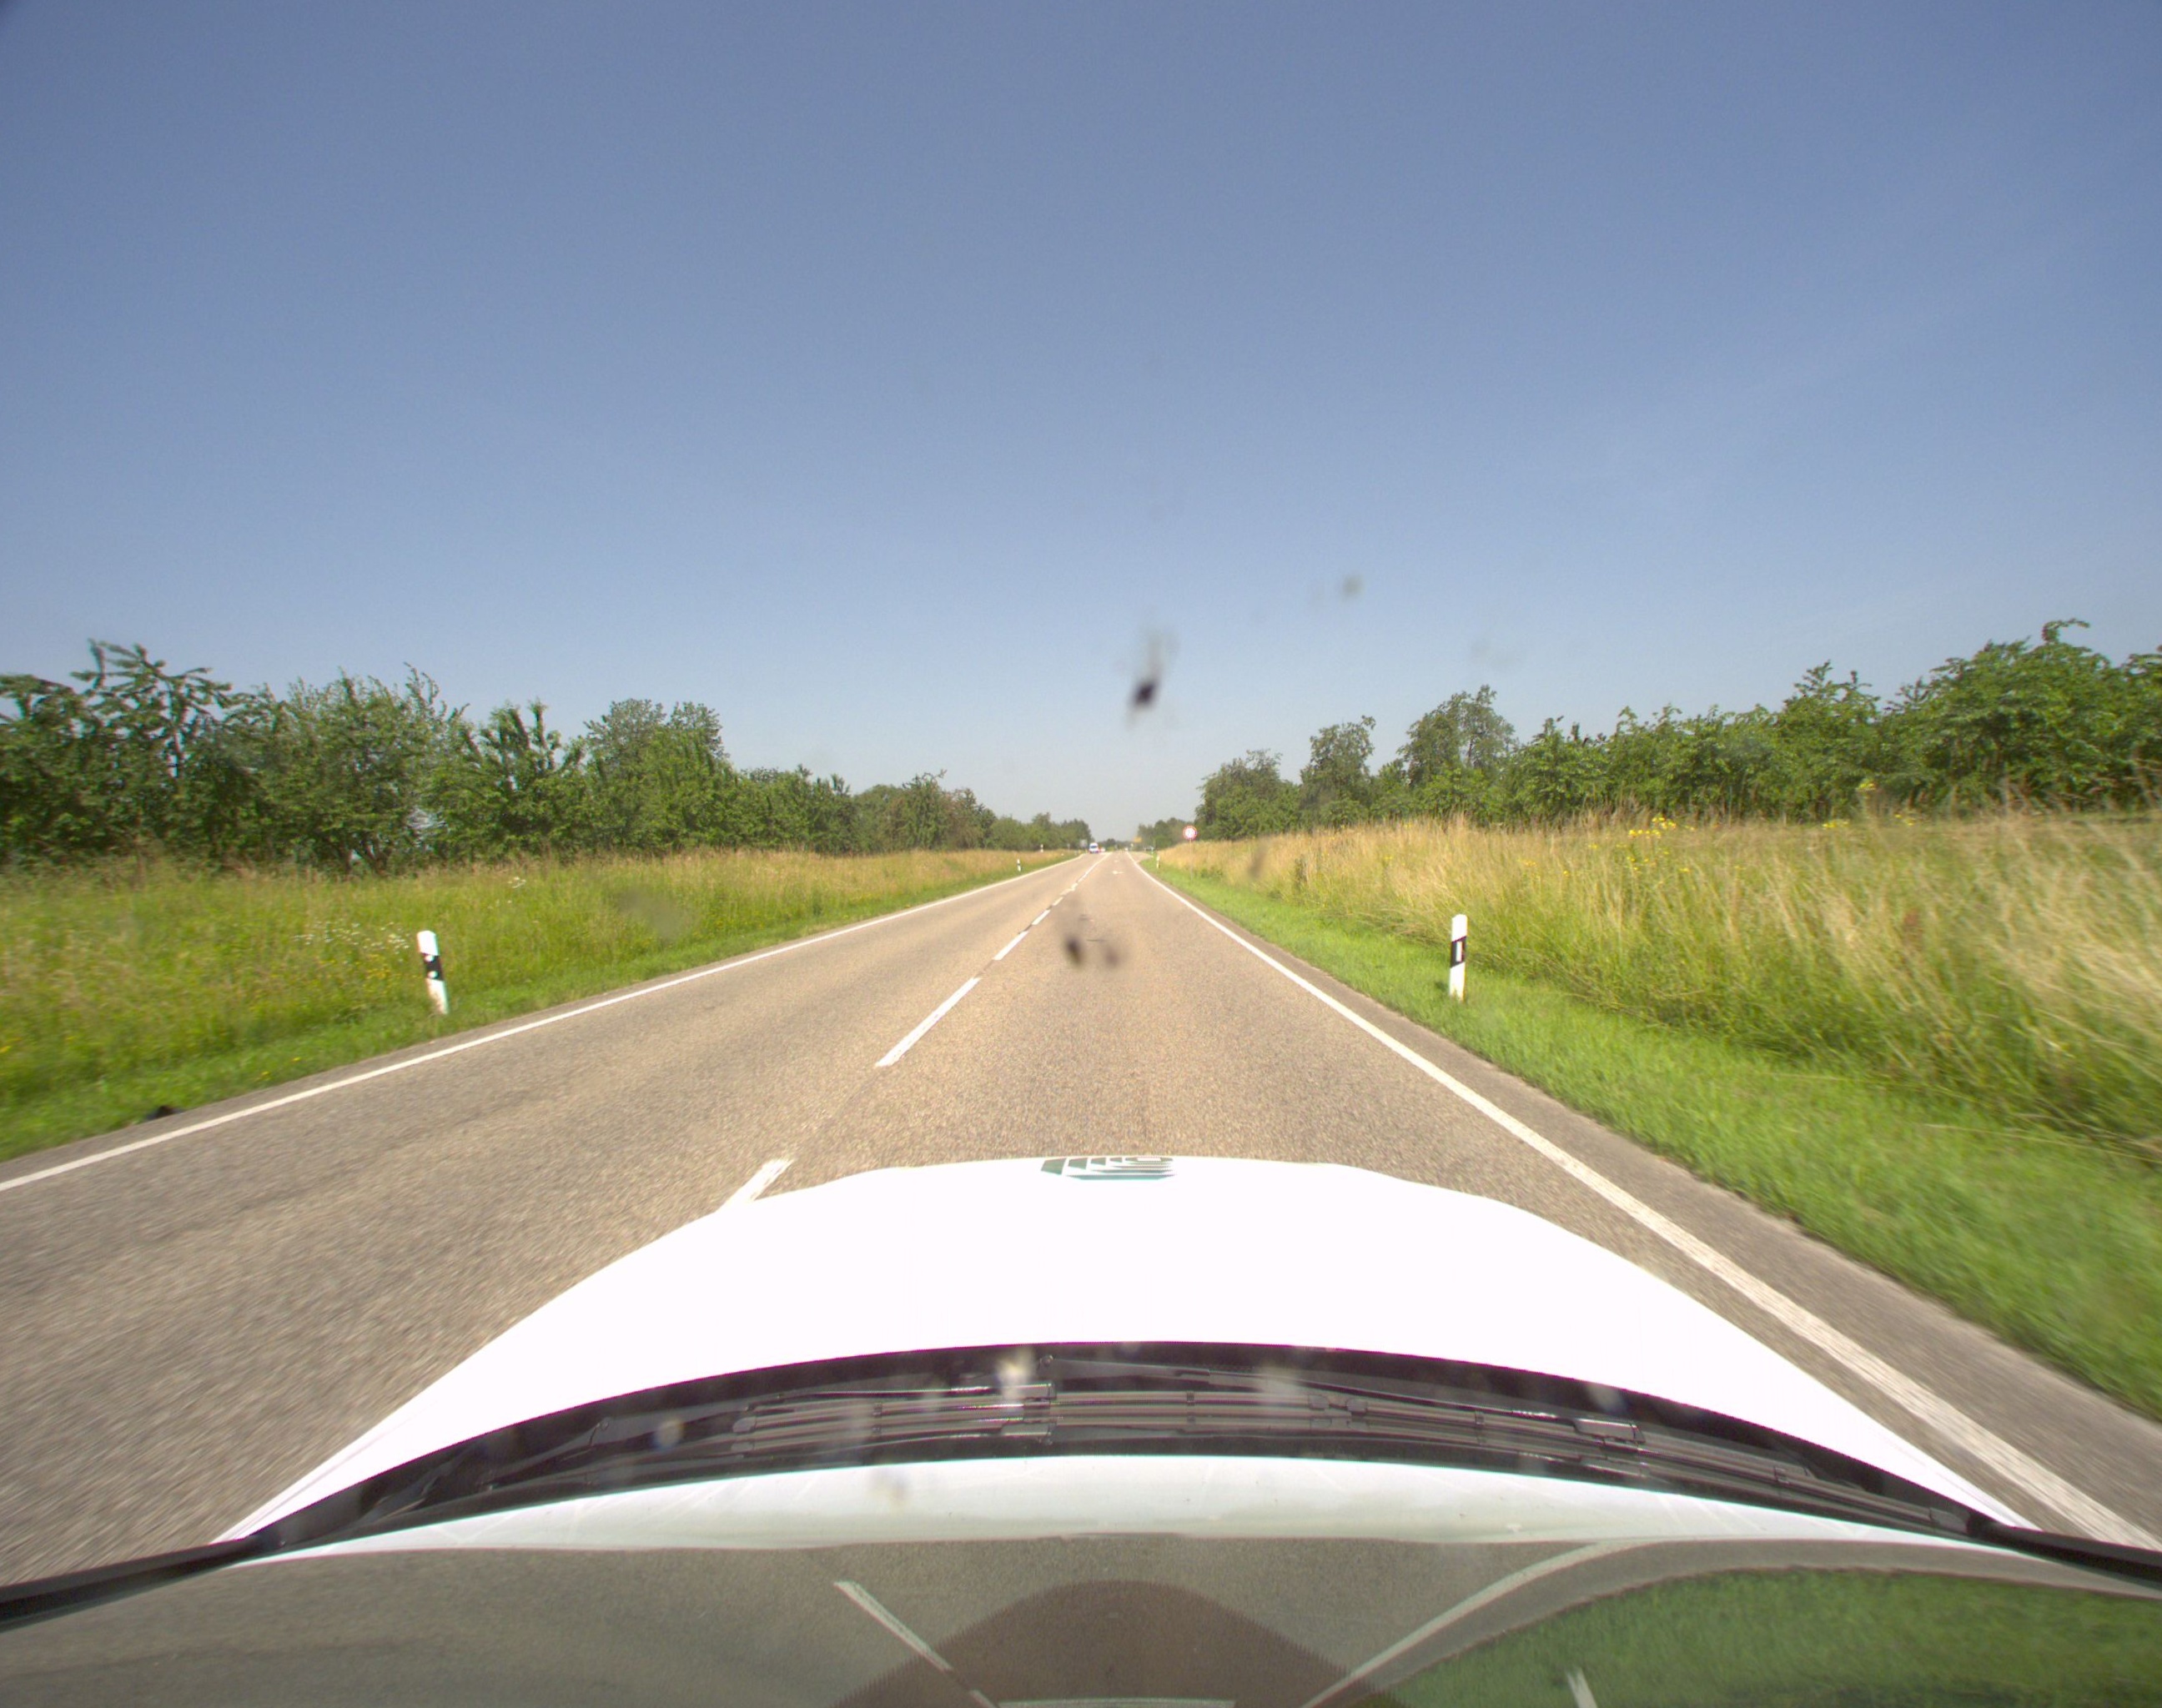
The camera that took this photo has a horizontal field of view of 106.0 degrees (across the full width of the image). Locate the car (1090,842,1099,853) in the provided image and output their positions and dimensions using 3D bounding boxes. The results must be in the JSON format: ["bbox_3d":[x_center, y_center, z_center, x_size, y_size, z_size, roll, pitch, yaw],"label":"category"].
[{"bbox_3d":[3.293,-1.591,204.459,2.153,2.668,6.145,-1,0,1],"label":"car"}]
